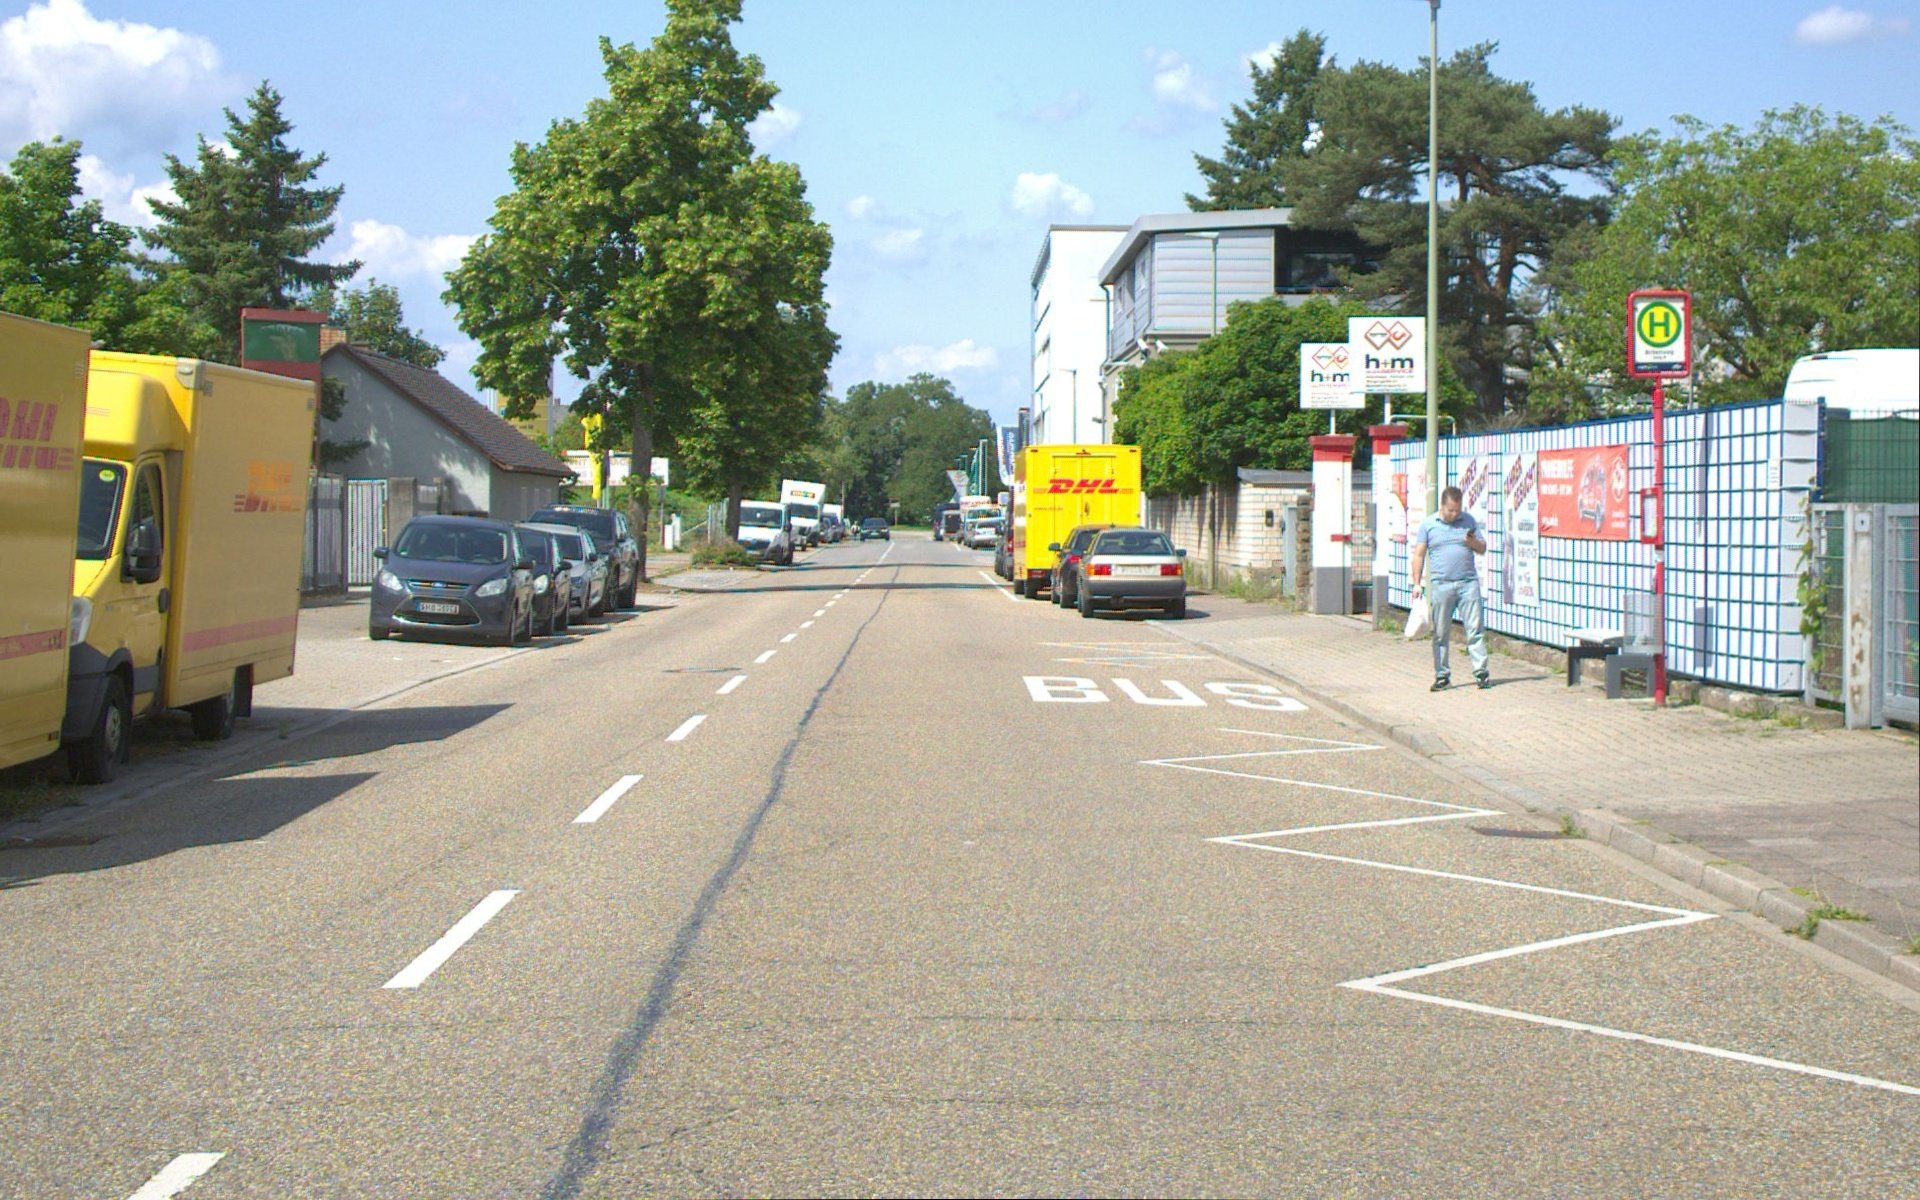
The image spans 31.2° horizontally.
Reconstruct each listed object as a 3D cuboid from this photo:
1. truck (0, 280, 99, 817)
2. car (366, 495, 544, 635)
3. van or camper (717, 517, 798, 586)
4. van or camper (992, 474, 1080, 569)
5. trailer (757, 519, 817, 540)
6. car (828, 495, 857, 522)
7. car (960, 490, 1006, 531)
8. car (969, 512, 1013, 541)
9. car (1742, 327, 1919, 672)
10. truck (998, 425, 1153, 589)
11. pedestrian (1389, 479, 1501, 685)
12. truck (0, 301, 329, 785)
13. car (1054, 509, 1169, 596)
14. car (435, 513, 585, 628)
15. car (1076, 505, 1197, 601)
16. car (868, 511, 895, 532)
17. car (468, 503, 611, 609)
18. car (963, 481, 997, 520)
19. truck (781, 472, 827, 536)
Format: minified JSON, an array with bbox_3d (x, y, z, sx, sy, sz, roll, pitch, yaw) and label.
[{"bbox_3d":[-6.187,-0.263,16.721,2.269,2.845,7.175,2,1,-1],"label":"truck"},{"bbox_3d":[-6.424,-0.490,44.130,1.724,1.598,4.415,3,2,-2],"label":"car"},{"bbox_3d":[-7.381,-1.829,126.263,2.174,2.405,7.697,0,2,3],"label":"van or camper"},{"bbox_3d":[1.881,-1.992,86.812,1.993,2.283,5.448,2,1,-1],"label":"van or camper"},{"bbox_3d":[-7.885,-3.242,157.168,2.417,0.811,5.537,2,2,0],"label":"trailer"},{"bbox_3d":[-7.210,-5.622,211.452,1.713,1.645,4.001,0,2,-1],"label":"car"},{"bbox_3d":[1.133,-4.514,173.047,2.216,2.006,5.485,0,2,0],"label":"car"},{"bbox_3d":[1.428,-3.408,159.170,1.928,1.306,4.001,0,2,-1],"label":"car"},{"bbox_3d":[9.038,-0.803,27.682,4.905,2.642,2.074,0,2,-8],"label":"car"},{"bbox_3d":[2.157,-1.803,66.660,2.474,2.930,7.189,1,2,-2],"label":"truck"},{"bbox_3d":[4.162,-0.158,29.508,0.715,1.691,0.522,-5,2,-5],"label":"pedestrian"},{"bbox_3d":[-6.249,-0.480,24.053,2.316,2.852,7.105,3,2,-1],"label":"truck"},{"bbox_3d":[2.596,-0.853,59.739,1.662,1.436,4.284,0,2,-2],"label":"car"},{"bbox_3d":[-6.395,-0.459,49.202,1.627,1.443,4.027,4,2,-2],"label":"car"},{"bbox_3d":[2.776,-0.782,54.966,1.651,1.382,4.423,1,2,0],"label":"car"},{"bbox_3d":[-5.061,-5.050,221.685,1.654,1.320,4.417,0,2,0],"label":"car"},{"bbox_3d":[-6.667,-0.744,54.929,1.733,1.513,4.743,3,2,-1],"label":"car"},{"bbox_3d":[1.036,-5.314,183.351,1.707,2.082,4.001,0,2,-1],"label":"car"},{"bbox_3d":[-7.760,-4.778,171.229,2.029,3.143,6.500,0,2,0],"label":"truck"}]
